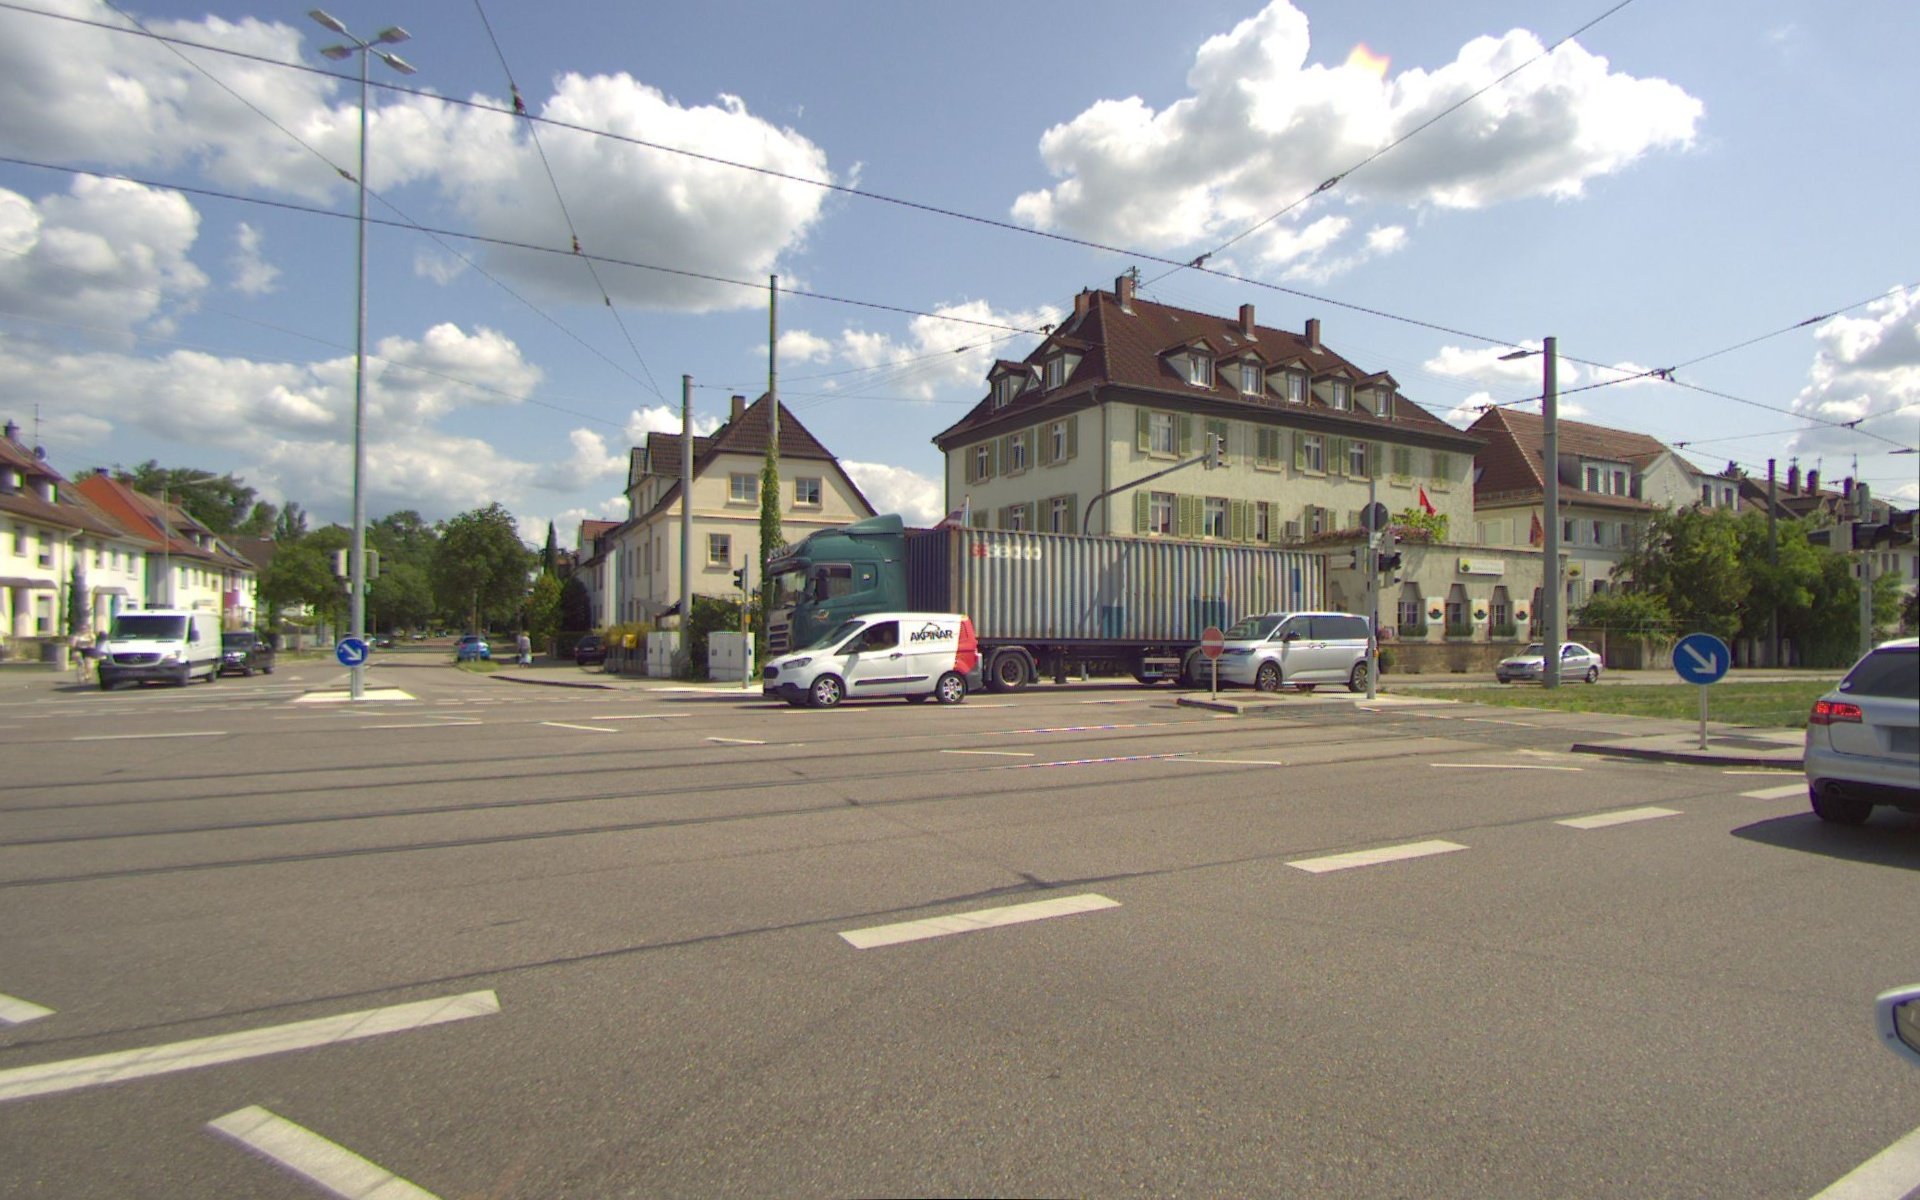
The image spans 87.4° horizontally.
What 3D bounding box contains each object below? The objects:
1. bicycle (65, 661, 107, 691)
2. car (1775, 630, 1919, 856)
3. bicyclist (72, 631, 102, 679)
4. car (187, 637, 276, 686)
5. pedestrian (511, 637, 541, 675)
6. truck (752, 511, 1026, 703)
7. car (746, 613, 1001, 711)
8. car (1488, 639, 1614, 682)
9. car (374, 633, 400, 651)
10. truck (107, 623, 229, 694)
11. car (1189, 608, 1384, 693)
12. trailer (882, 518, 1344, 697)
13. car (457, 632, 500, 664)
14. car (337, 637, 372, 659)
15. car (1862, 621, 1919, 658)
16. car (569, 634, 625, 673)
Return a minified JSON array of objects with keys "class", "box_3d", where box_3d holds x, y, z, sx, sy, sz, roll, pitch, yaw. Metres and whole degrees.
[{"class":"bicycle","box_3d":[-28.347,2.444,32.599,0.595,0.846,1.797,2,0,-27]},{"class":"car","box_3d":[8.448,1.000,7.832,4.667,1.491,1.785,1,-1,-31]},{"class":"bicyclist","box_3d":[-28.314,1.780,32.589,0.595,1.517,0.498,1,0,-28]},{"class":"car","box_3d":[-26.988,2.237,37.331,1.974,1.573,4.149,2,-1,-27]},{"class":"pedestrian","box_3d":[-19.974,2.567,46.210,1.018,1.670,0.922,1,0,-8]},{"class":"truck","box_3d":[-1.594,0.223,22.729,5.594,3.871,2.590,0,-3,-28]},{"class":"car","box_3d":[-1.577,1.130,18.732,4.415,1.658,1.788,2,-3,-28]},{"class":"car","box_3d":[20.496,2.059,34.802,4.417,1.405,1.787,2,-3,-29]},{"class":"car","box_3d":[-57.336,4.185,100.547,1.974,1.573,4.149,2,-1,-27]},{"class":"truck","box_3d":[-24.185,1.724,30.922,1.668,1.947,6.164,2,-2,-26]},{"class":"car","box_3d":[7.779,1.196,23.832,4.658,1.839,1.786,2,-3,-31]},{"class":"trailer","box_3d":[4.339,0.246,25.846,12.674,3.871,2.590,0,-3,-28]},{"class":"car","box_3d":[-27.156,2.671,56.560,1.976,1.617,3.970,2,0,-29]},{"class":"car","box_3d":[-47.115,3.725,78.224,1.974,1.573,4.149,2,-1,-27]},{"class":"car","box_3d":[46.396,1.945,49.144,4.880,1.734,2.005,2,-3,-31]},{"class":"car","box_3d":[-17.748,2.579,49.327,1.900,1.690,4.279,2,0,-11]}]
